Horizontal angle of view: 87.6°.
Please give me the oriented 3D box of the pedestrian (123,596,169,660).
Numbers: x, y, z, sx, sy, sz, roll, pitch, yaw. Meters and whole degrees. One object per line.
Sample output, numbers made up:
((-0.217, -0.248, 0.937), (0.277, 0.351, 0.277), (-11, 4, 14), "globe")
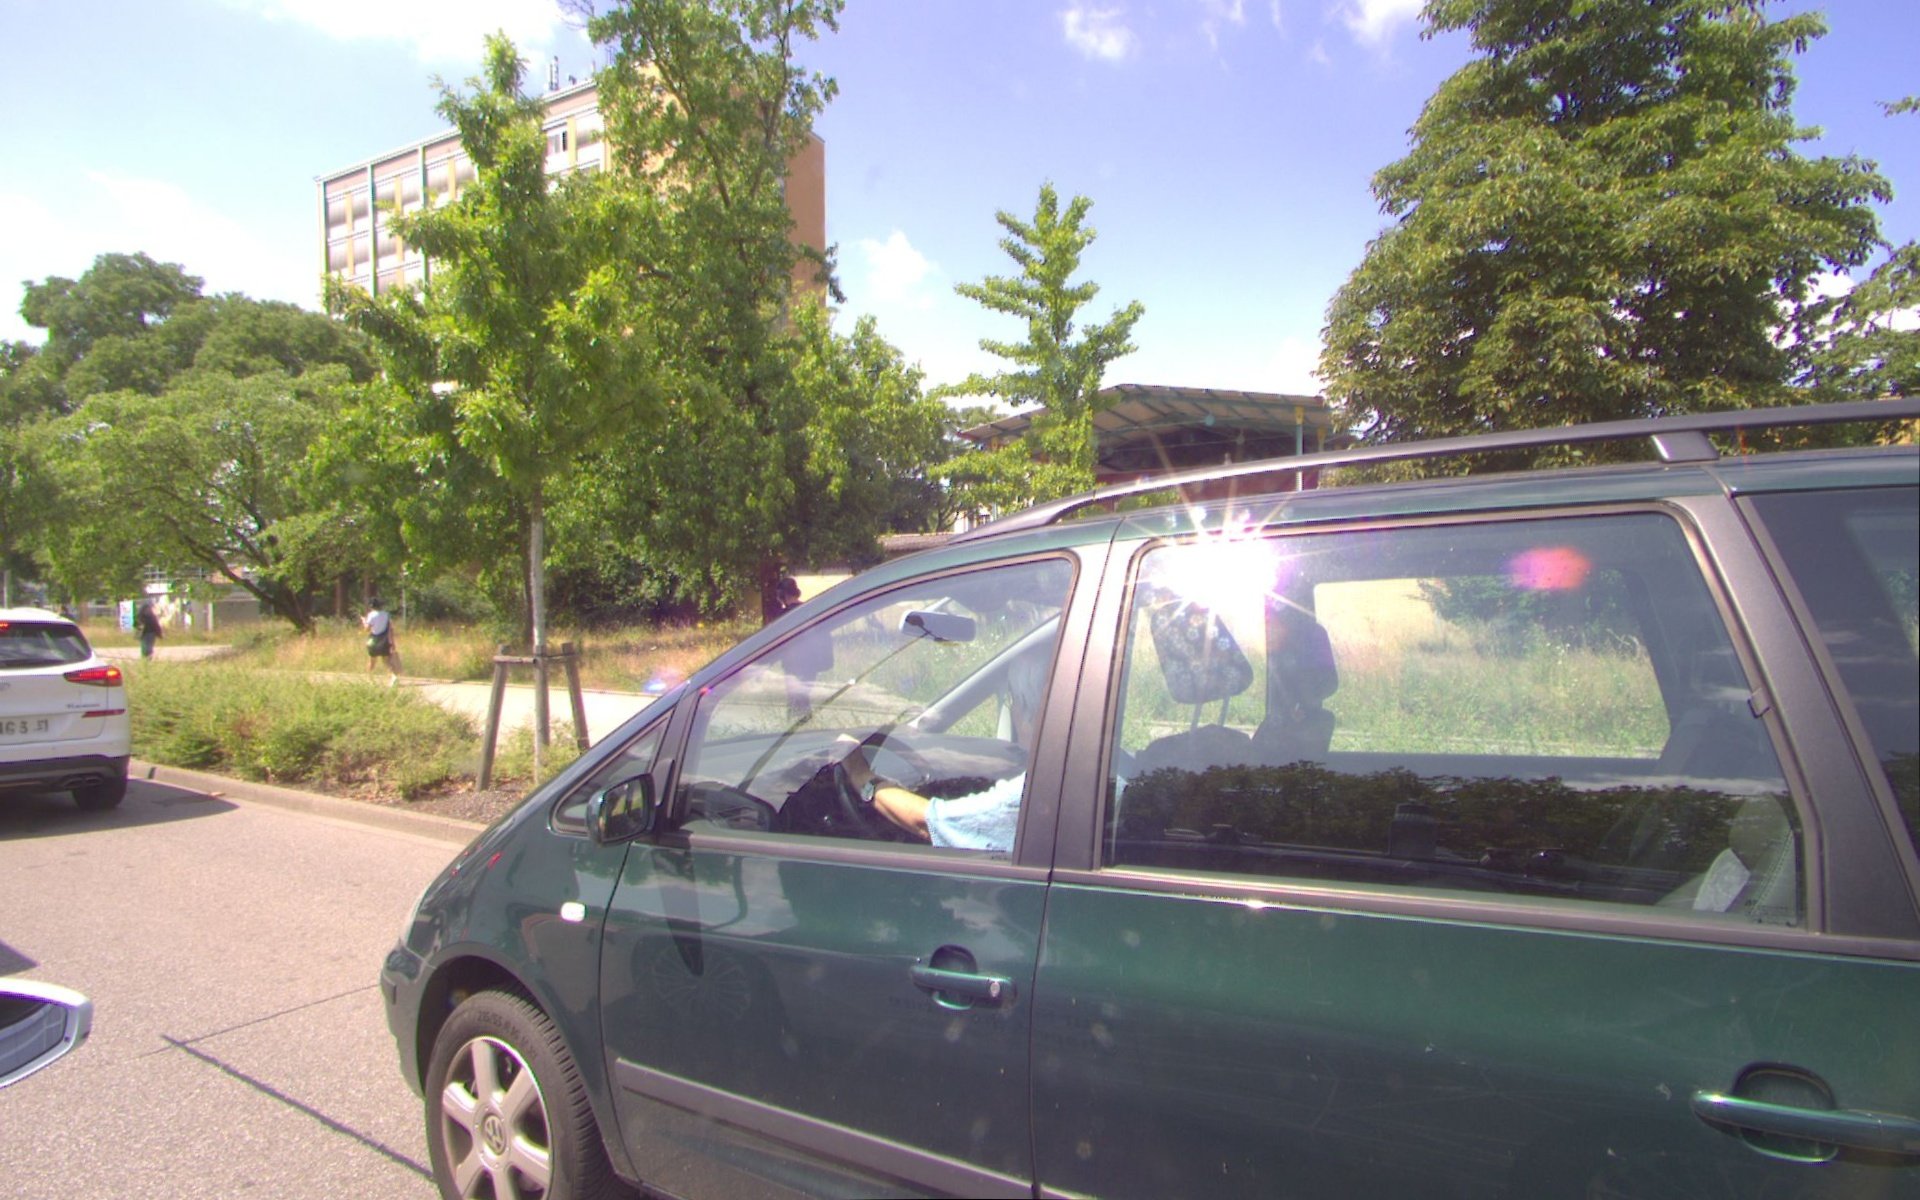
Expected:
((-21.721, 0.726, 26.725), (0.805, 1.677, 0.756), (0, 1, 36), "pedestrian")

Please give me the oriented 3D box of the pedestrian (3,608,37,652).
((-40.022, 1.266, 42.636), (0.802, 1.874, 0.759), (0, 1, 22), "pedestrian")

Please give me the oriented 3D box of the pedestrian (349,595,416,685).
((-10.360, 0.704, 17.982), (0.805, 1.578, 0.757), (0, 1, 33), "pedestrian")

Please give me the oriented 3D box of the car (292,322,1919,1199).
((0.550, 0.635, 2.270), (4.329, 1.737, 1.799), (0, -2, 32), "car")

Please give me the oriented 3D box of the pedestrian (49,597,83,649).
((-31.356, 0.804, 35.118), (0.806, 1.813, 0.756), (0, 0, 37), "pedestrian")

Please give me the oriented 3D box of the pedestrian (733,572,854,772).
((-1.514, 0.614, 9.093), (0.807, 1.706, 0.754), (0, 1, 44), "pedestrian")

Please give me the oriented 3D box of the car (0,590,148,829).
((-8.478, 0.787, 8.179), (3.919, 1.700, 1.810), (0, 0, 34), "car")

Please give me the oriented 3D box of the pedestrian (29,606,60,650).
((-39.735, 1.200, 43.463), (0.803, 1.874, 0.759), (0, 1, 24), "pedestrian")
